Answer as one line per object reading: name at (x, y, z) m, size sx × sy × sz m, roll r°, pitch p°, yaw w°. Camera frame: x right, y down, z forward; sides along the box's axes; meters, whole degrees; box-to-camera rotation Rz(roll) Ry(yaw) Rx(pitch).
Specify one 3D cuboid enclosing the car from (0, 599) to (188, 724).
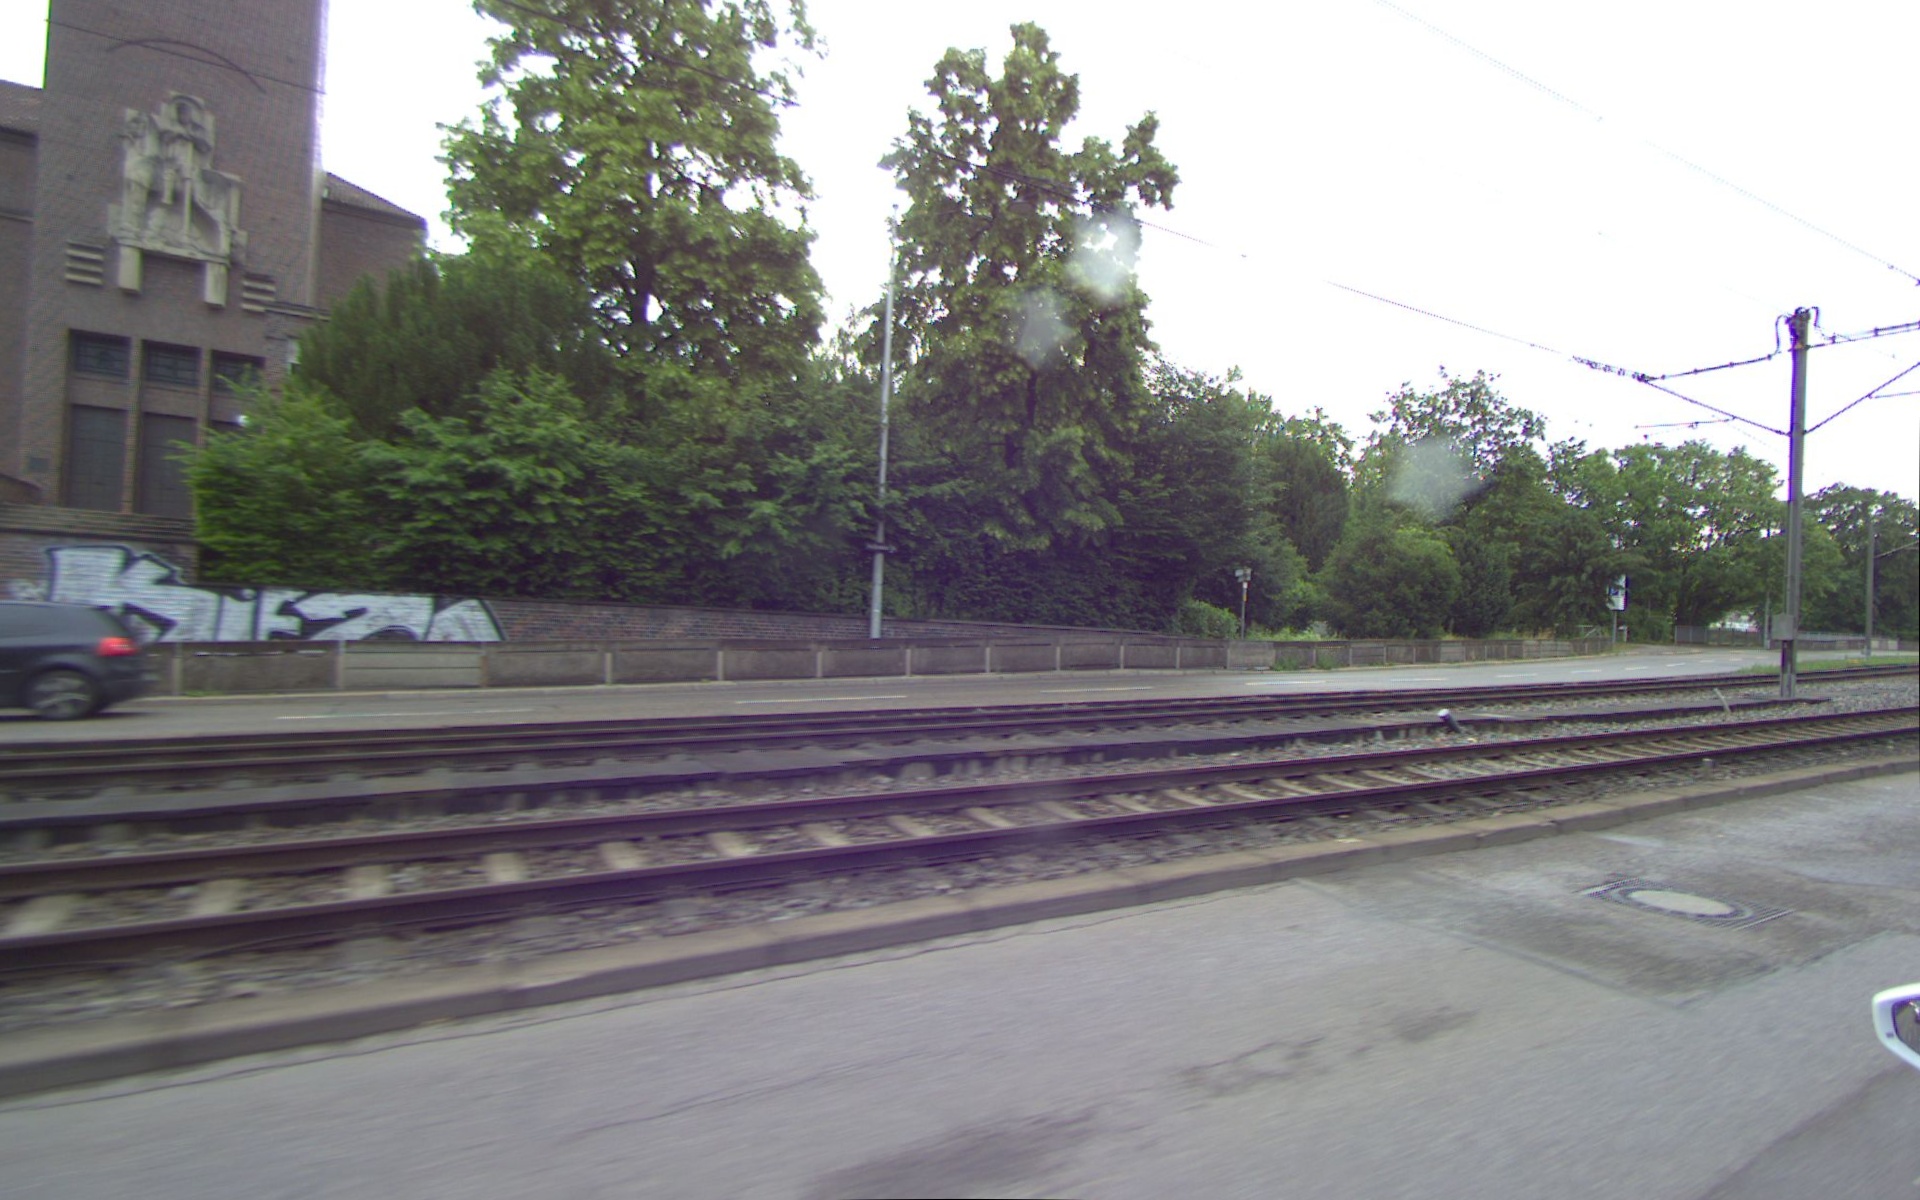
car at (-12.229, 0.716, 12.221) m, size 4.275 × 1.460 × 1.954 m, roll 2°, pitch -2°, yaw -33°
